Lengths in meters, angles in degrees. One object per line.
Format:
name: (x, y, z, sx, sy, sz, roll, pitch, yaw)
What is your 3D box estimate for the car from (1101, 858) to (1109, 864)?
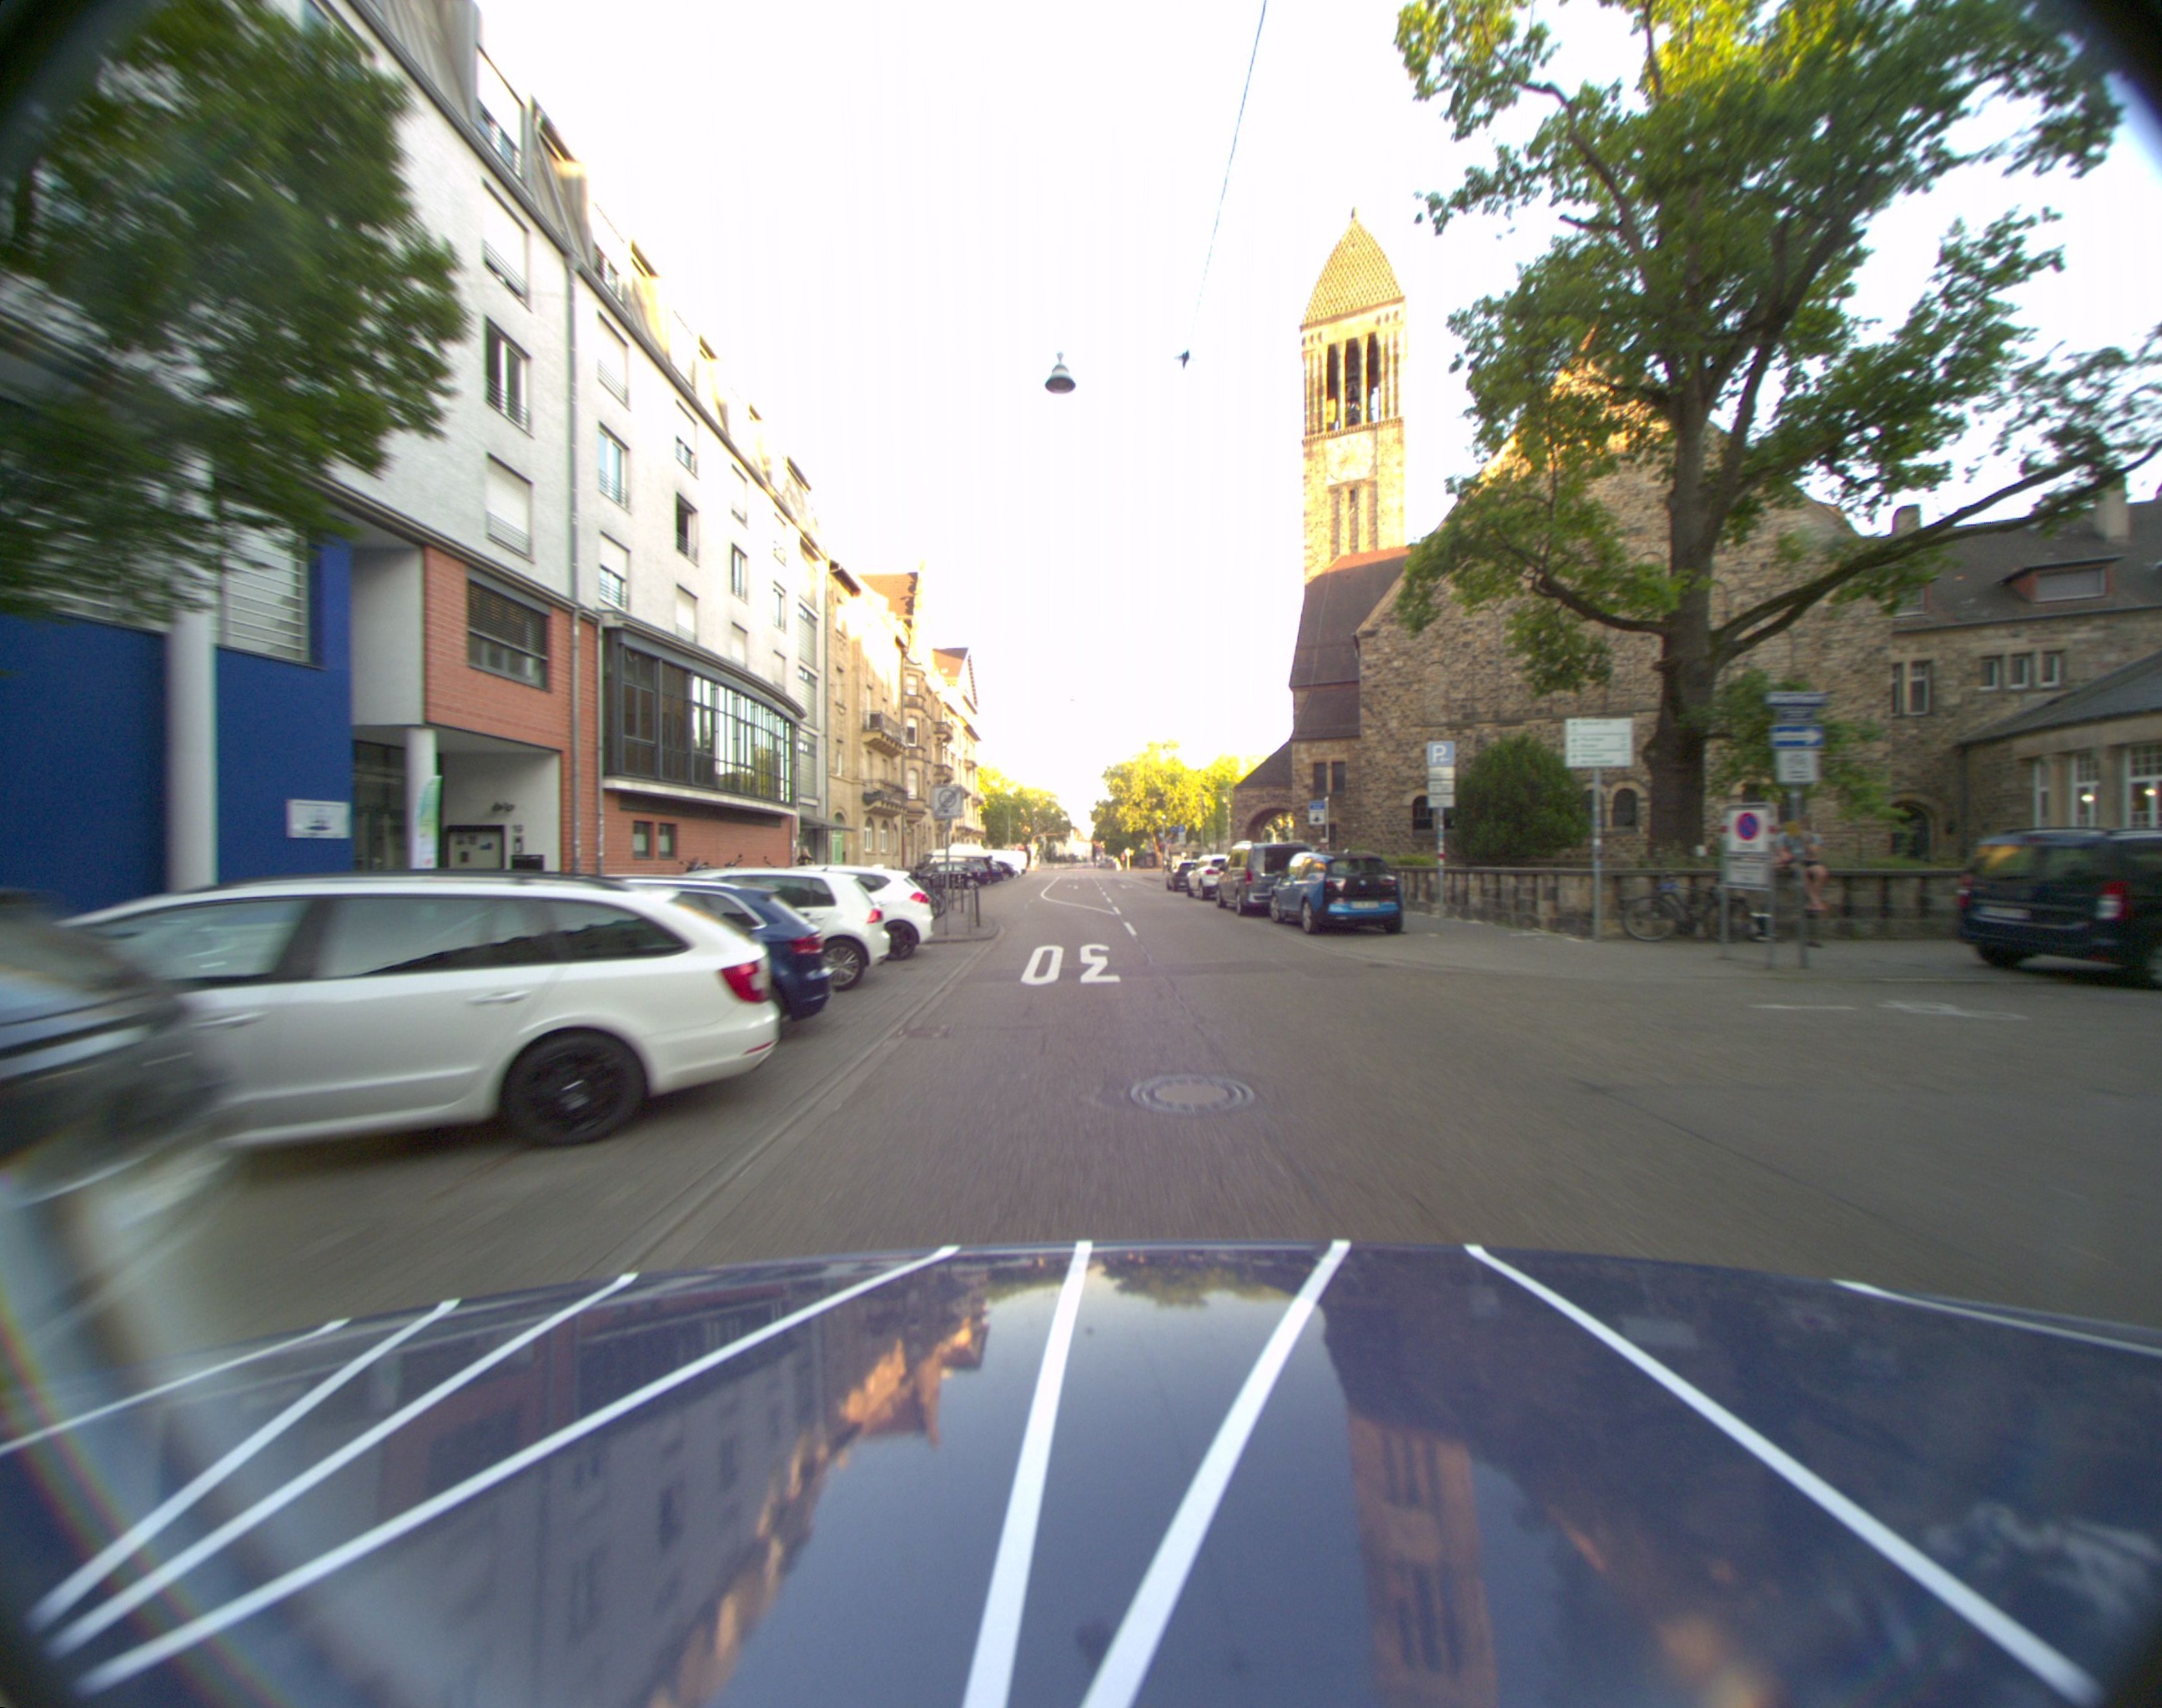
car: (6.130, 1.732, 196.464, 1.827, 1.564, 4.001, -1, 0, 4)

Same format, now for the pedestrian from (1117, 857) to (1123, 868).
pedestrian: (6.140, 1.306, 119.442, 0.745, 1.619, 0.660, -1, 0, 17)

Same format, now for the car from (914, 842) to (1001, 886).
car: (-7.386, 0.554, 45.558, 4.733, 2.532, 1.914, -1, 1, -29)

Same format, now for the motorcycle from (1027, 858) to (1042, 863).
motorcycle: (-7.648, 1.071, 124.508, 2.288, 0.917, 0.621, 0, 0, -25)

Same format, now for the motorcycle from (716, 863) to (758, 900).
motorcycle: (-11.210, 0.876, 24.859, 0.778, 1.133, 2.413, 1, 0, -13)

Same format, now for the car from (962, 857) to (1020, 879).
car: (-7.074, 1.121, 59.679, 4.108, 1.598, 1.811, 2, 0, -38)

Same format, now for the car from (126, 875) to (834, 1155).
car: (-4.255, 0.990, 6.183, 4.007, 1.514, 1.705, 0, 1, -31)

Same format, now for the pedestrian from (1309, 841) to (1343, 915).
pedestrian: (6.398, 0.621, 19.855, 0.584, 1.894, 0.803, 0, 0, -3)

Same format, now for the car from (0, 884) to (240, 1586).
car: (-4.295, 0.896, 1.221, 3.612, 1.571, 1.712, 0, 0, -33)

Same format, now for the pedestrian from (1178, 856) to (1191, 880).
pedestrian: (7.309, 1.001, 53.765, 0.716, 1.715, 0.691, 0, 0, -10)

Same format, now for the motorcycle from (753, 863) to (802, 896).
motorcycle: (-11.100, 0.898, 27.918, 0.802, 1.132, 2.440, 2, 0, 0)

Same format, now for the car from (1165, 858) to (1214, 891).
car: (5.022, 0.935, 35.782, 1.787, 1.426, 4.316, 0, 0, 1)

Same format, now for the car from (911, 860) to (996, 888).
car: (-7.214, 1.099, 43.038, 4.363, 1.494, 1.909, 0, 0, -28)

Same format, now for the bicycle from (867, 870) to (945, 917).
bicycle: (-4.664, 1.051, 20.329, 1.864, 1.139, 0.659, 3, 0, 0)

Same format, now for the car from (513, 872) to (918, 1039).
car: (-4.212, 1.011, 9.099, 4.007, 1.464, 1.870, 0, 1, -33)

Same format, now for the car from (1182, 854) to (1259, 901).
car: (5.000, 0.806, 27.836, 1.876, 1.582, 4.468, 0, 0, -2)

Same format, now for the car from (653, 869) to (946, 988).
car: (-4.296, 1.019, 11.739, 4.006, 1.498, 1.766, 0, 0, -29)

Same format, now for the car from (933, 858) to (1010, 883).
car: (-6.974, 1.058, 48.488, 4.407, 1.477, 1.839, 2, -1, -30)

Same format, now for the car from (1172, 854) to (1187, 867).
car: (15.394, 0.940, 118.827, 1.865, 2.002, 3.815, 0, 0, 15)

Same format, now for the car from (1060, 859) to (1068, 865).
car: (-4.462, 2.099, 201.261, 1.794, 1.570, 4.001, 0, 0, 3)

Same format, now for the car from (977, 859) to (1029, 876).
car: (-7.040, 1.249, 68.763, 4.264, 1.445, 1.994, 1, 0, -38)

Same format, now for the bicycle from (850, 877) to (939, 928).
bicycle: (-4.150, 1.082, 16.991, 1.862, 1.059, 0.445, 1, 0, -1)

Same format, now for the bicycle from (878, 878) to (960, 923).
bicycle: (-3.904, 1.125, 18.409, 1.862, 1.032, 0.472, 1, 0, -1)

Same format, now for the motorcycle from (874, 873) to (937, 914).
motorcycle: (-4.986, 1.111, 21.654, 1.650, 1.095, 0.647, 2, 0, -9)

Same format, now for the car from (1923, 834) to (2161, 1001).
car: (13.317, 0.699, 9.206, 3.996, 1.833, 1.891, 0, 0, 3)

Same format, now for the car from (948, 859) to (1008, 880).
car: (-7.651, 1.152, 56.609, 4.066, 1.489, 1.749, 2, 0, -35)

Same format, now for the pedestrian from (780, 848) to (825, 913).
pedestrian: (-9.133, 0.853, 24.946, 0.608, 2.002, 0.857, 16, 1, 1)

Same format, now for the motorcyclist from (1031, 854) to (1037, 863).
motorcyclist: (-7.654, 0.721, 124.495, 0.830, 1.510, 0.621, 0, 0, -25)

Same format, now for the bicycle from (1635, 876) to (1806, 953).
bicycle: (9.786, 0.916, 11.671, 2.145, 1.127, 0.555, 0, 0, 1)

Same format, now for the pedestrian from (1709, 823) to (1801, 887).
pedestrian: (10.645, 0.011, 12.022, 0.708, 0.974, 0.837, 0, 0, -2)

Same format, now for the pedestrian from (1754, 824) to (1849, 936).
pedestrian: (11.383, 0.392, 12.038, 0.708, 1.711, 0.837, 0, 0, -2)

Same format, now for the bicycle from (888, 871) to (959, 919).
bicycle: (-4.061, 1.060, 19.625, 1.712, 1.169, 0.472, 1, 0, -1)

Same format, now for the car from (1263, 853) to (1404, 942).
car: (4.989, 0.791, 15.555, 1.644, 1.546, 4.005, -2, 0, 2)

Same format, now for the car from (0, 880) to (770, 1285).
car: (-3.966, 0.951, 4.135, 4.007, 1.528, 1.632, 0, -1, -31)

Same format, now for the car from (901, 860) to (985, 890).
car: (-7.343, 1.086, 40.538, 4.076, 1.483, 1.720, 0, 0, -31)

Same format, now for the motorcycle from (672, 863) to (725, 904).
motorcycle: (-11.268, 0.844, 22.446, 0.590, 1.097, 2.083, 2, 0, -3)

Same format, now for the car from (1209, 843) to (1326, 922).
car: (4.906, 0.702, 20.785, 1.998, 1.855, 5.290, -1, 0, 1)

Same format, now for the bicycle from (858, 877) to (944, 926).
bicycle: (-4.139, 1.098, 17.561, 1.862, 1.059, 0.445, 1, 0, -1)

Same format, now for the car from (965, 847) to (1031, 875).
car: (-7.756, 0.676, 71.480, 5.898, 2.537, 2.189, 1, 2, -41)
